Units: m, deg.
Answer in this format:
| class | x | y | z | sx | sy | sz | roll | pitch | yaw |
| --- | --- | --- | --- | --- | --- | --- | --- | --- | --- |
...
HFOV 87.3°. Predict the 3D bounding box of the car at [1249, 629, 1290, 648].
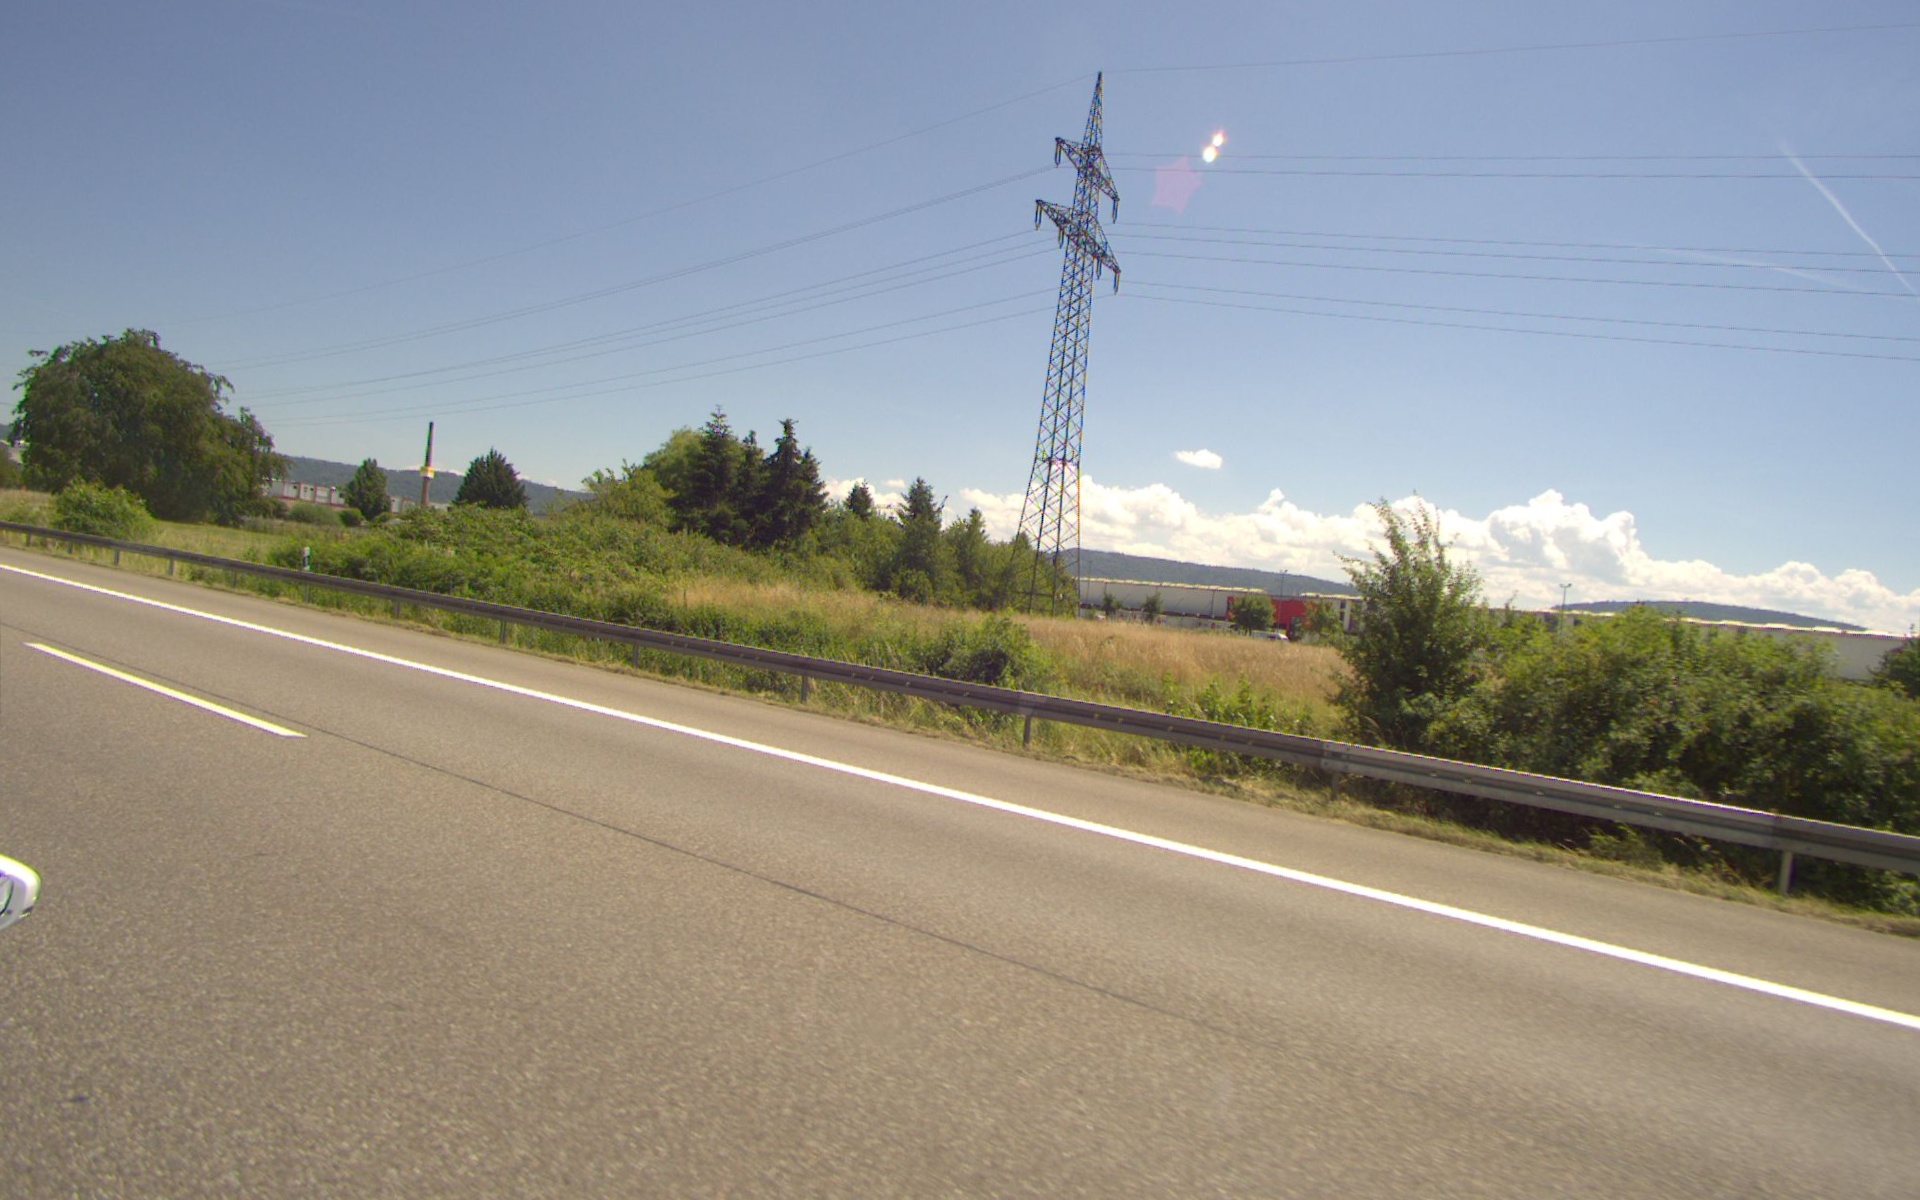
| class | x | y | z | sx | sy | sz | roll | pitch | yaw |
| --- | --- | --- | --- | --- | --- | --- | --- | --- | --- |
| car | 43.928 | 5.448 | 143.053 | 1.985 | 2.036 | 5.211 | 9 | -2 | -38 |
